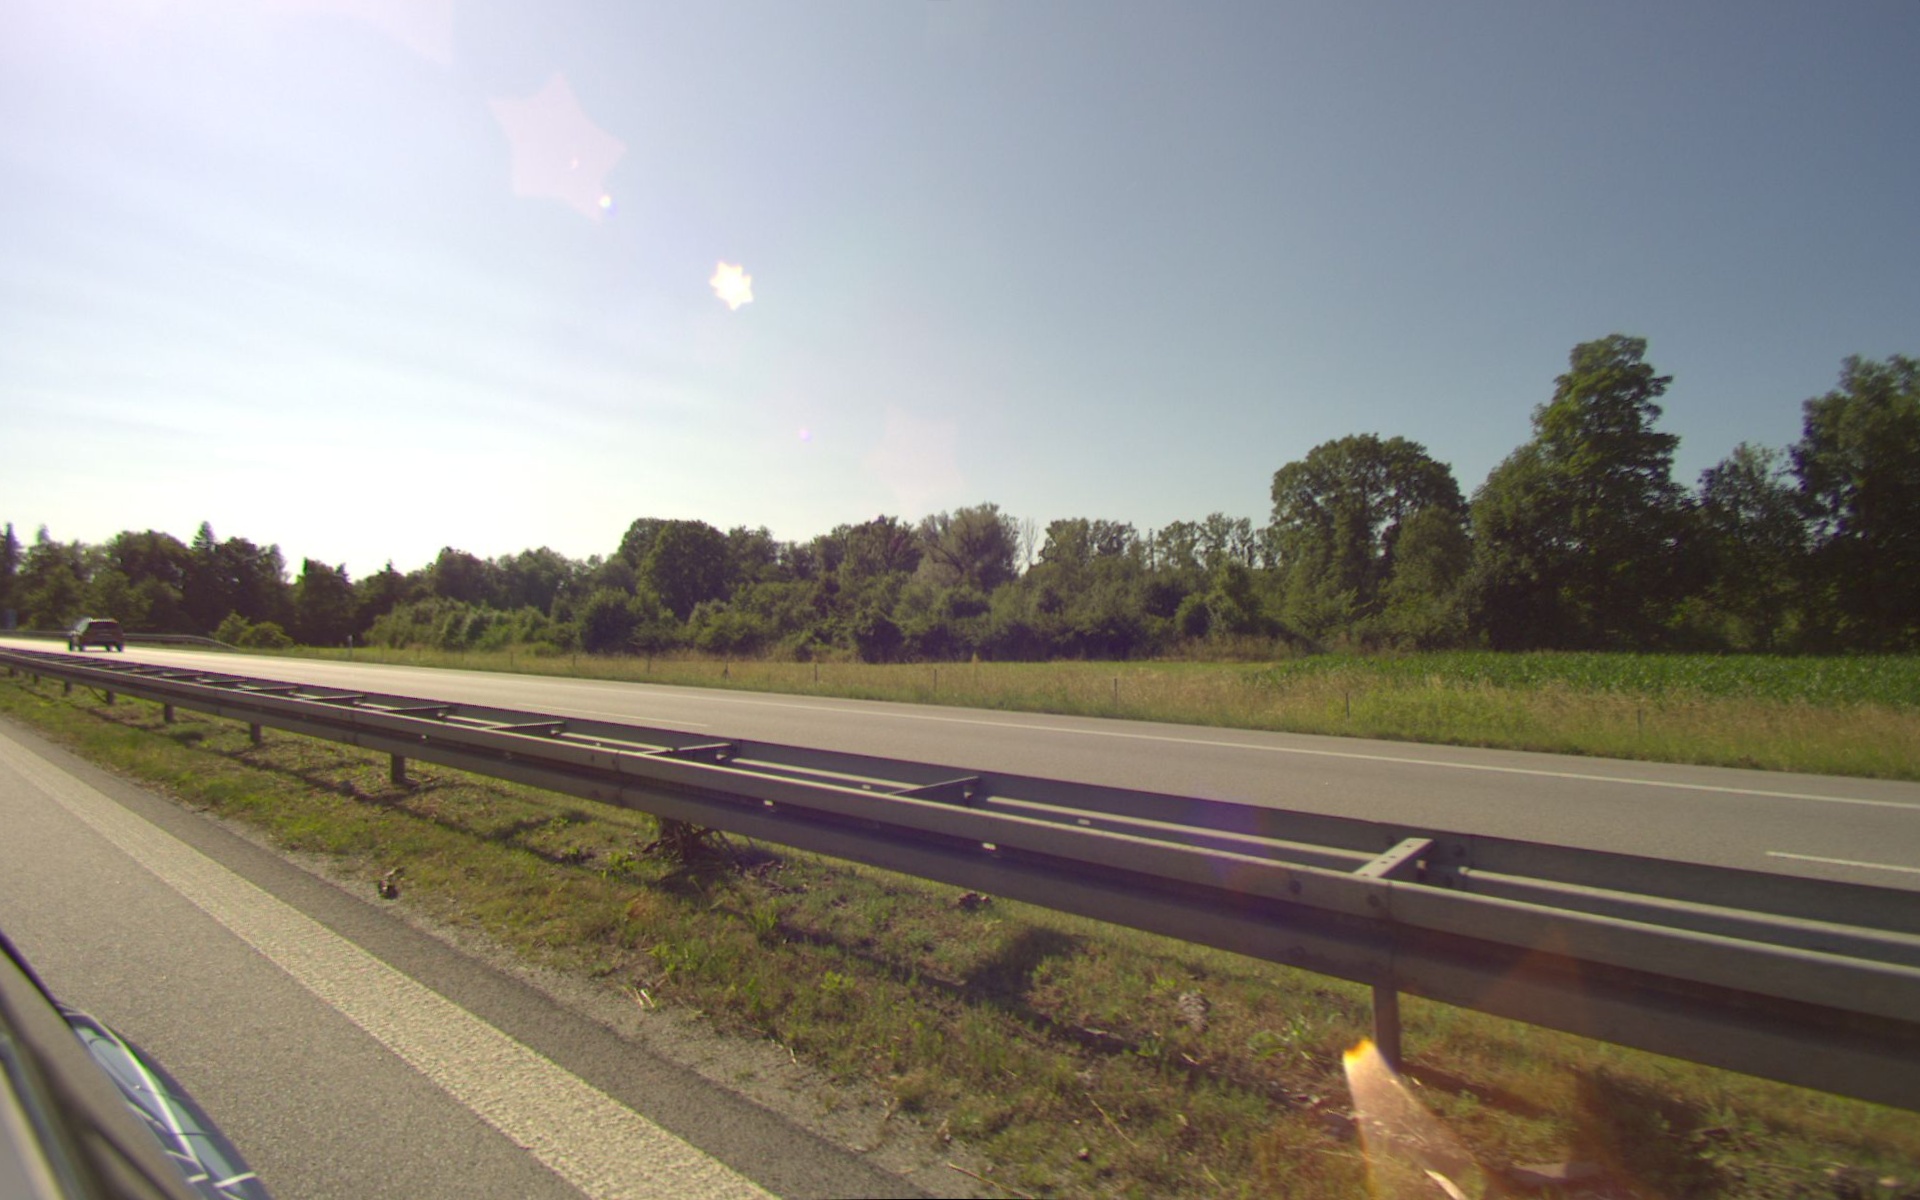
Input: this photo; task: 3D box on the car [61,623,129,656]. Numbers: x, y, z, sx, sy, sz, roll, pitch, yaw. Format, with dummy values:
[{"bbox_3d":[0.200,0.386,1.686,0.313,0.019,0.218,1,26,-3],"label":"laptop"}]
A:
[{"bbox_3d":[-45.356,2.079,53.005,4.772,1.674,1.973,-2,-3,41],"label":"car"}]
